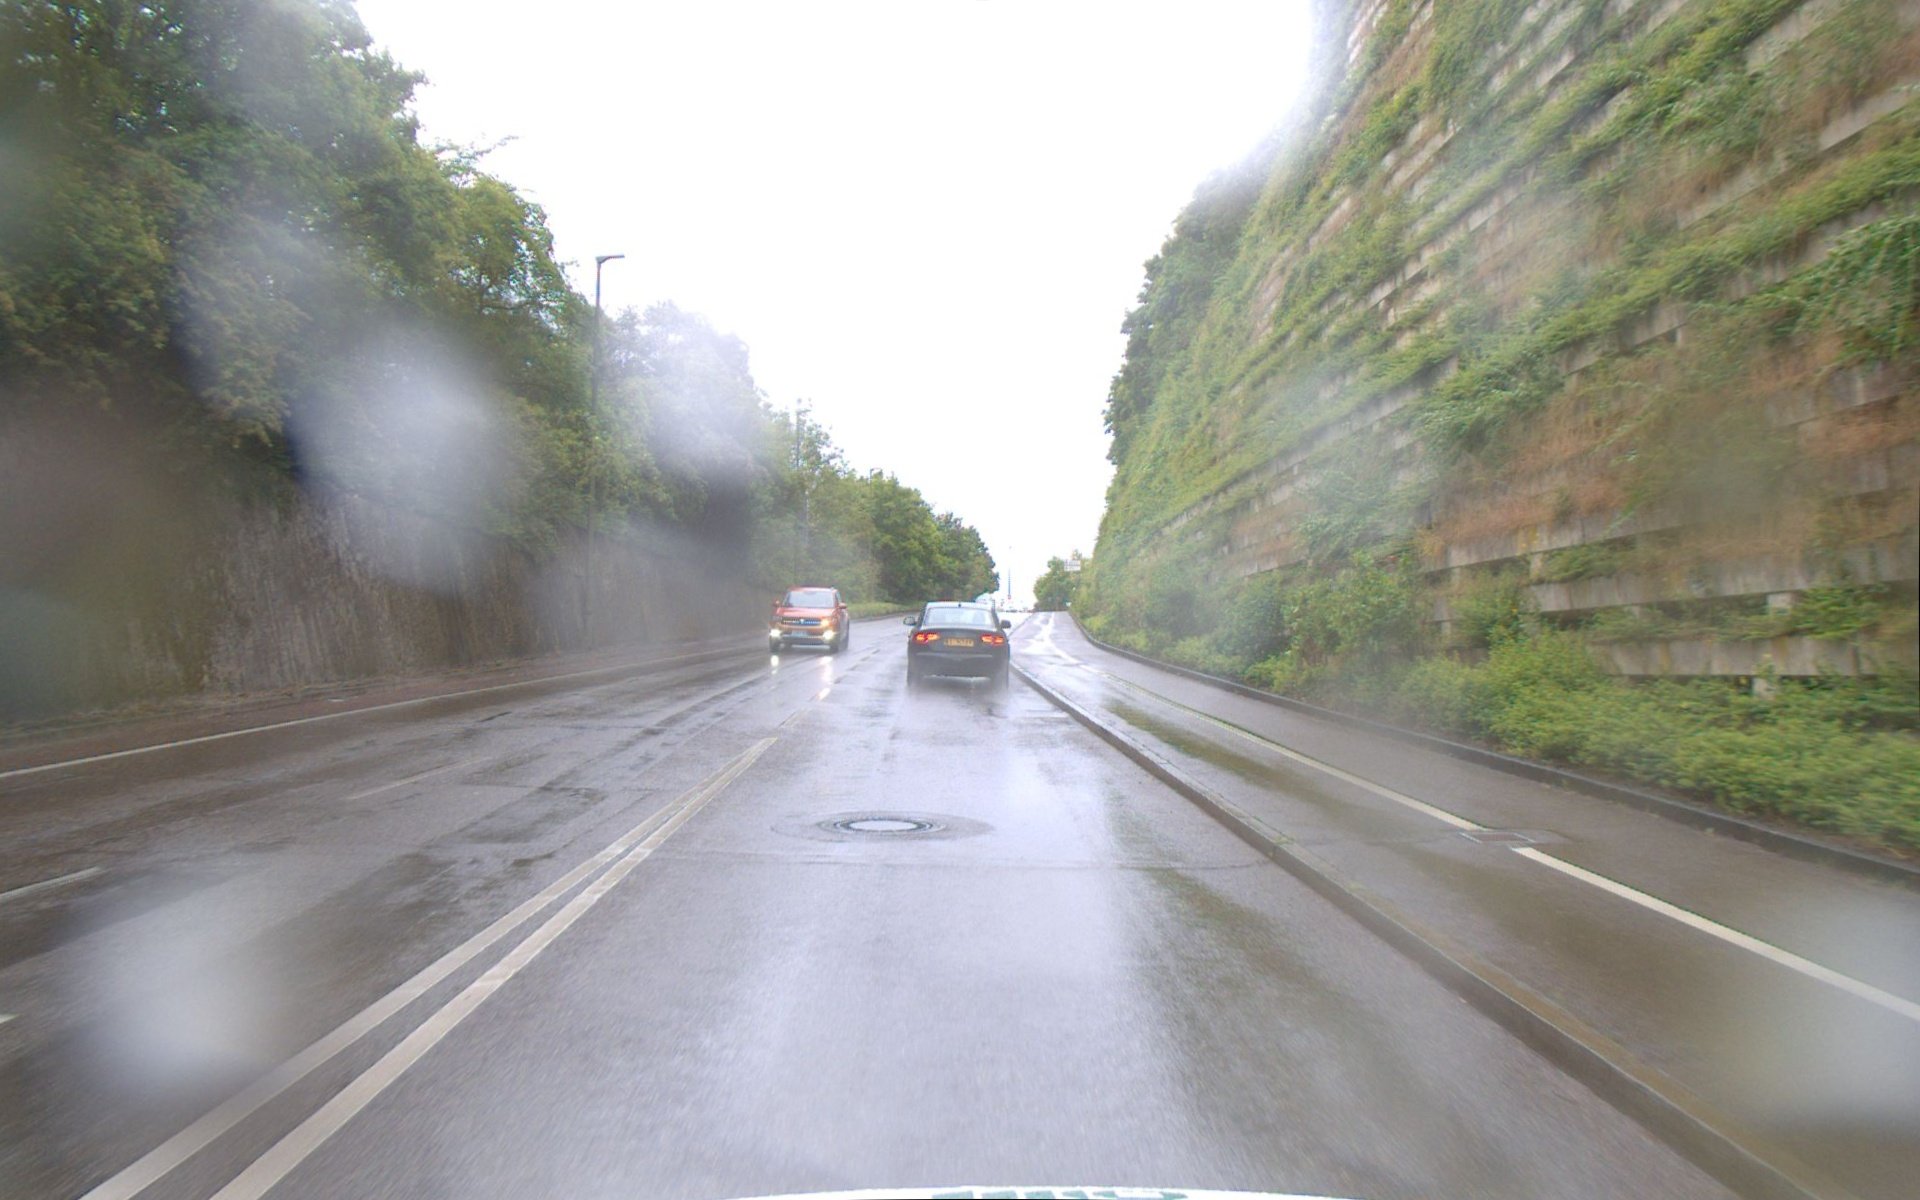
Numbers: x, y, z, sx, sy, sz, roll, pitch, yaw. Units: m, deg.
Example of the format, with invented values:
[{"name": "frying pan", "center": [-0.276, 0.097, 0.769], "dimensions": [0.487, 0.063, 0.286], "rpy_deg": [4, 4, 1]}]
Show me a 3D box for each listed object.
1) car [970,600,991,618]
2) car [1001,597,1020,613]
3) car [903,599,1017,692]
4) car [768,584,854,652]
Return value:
[{"name": "car", "center": [1.799, 0.807, 143.638], "dimensions": [1.826, 1.474, 4.378], "rpy_deg": [0, -1, 2]}, {"name": "car", "center": [5.311, 0.540, 174.671], "dimensions": [1.784, 1.643, 4.095], "rpy_deg": [0, -2, 5]}, {"name": "car", "center": [0.025, 0.771, 29.130], "dimensions": [1.854, 1.518, 4.207], "rpy_deg": [0, -1, 1]}, {"name": "car", "center": [-3.769, 0.454, 42.404], "dimensions": [1.697, 1.646, 4.000], "rpy_deg": [1, -1, 2]}]
